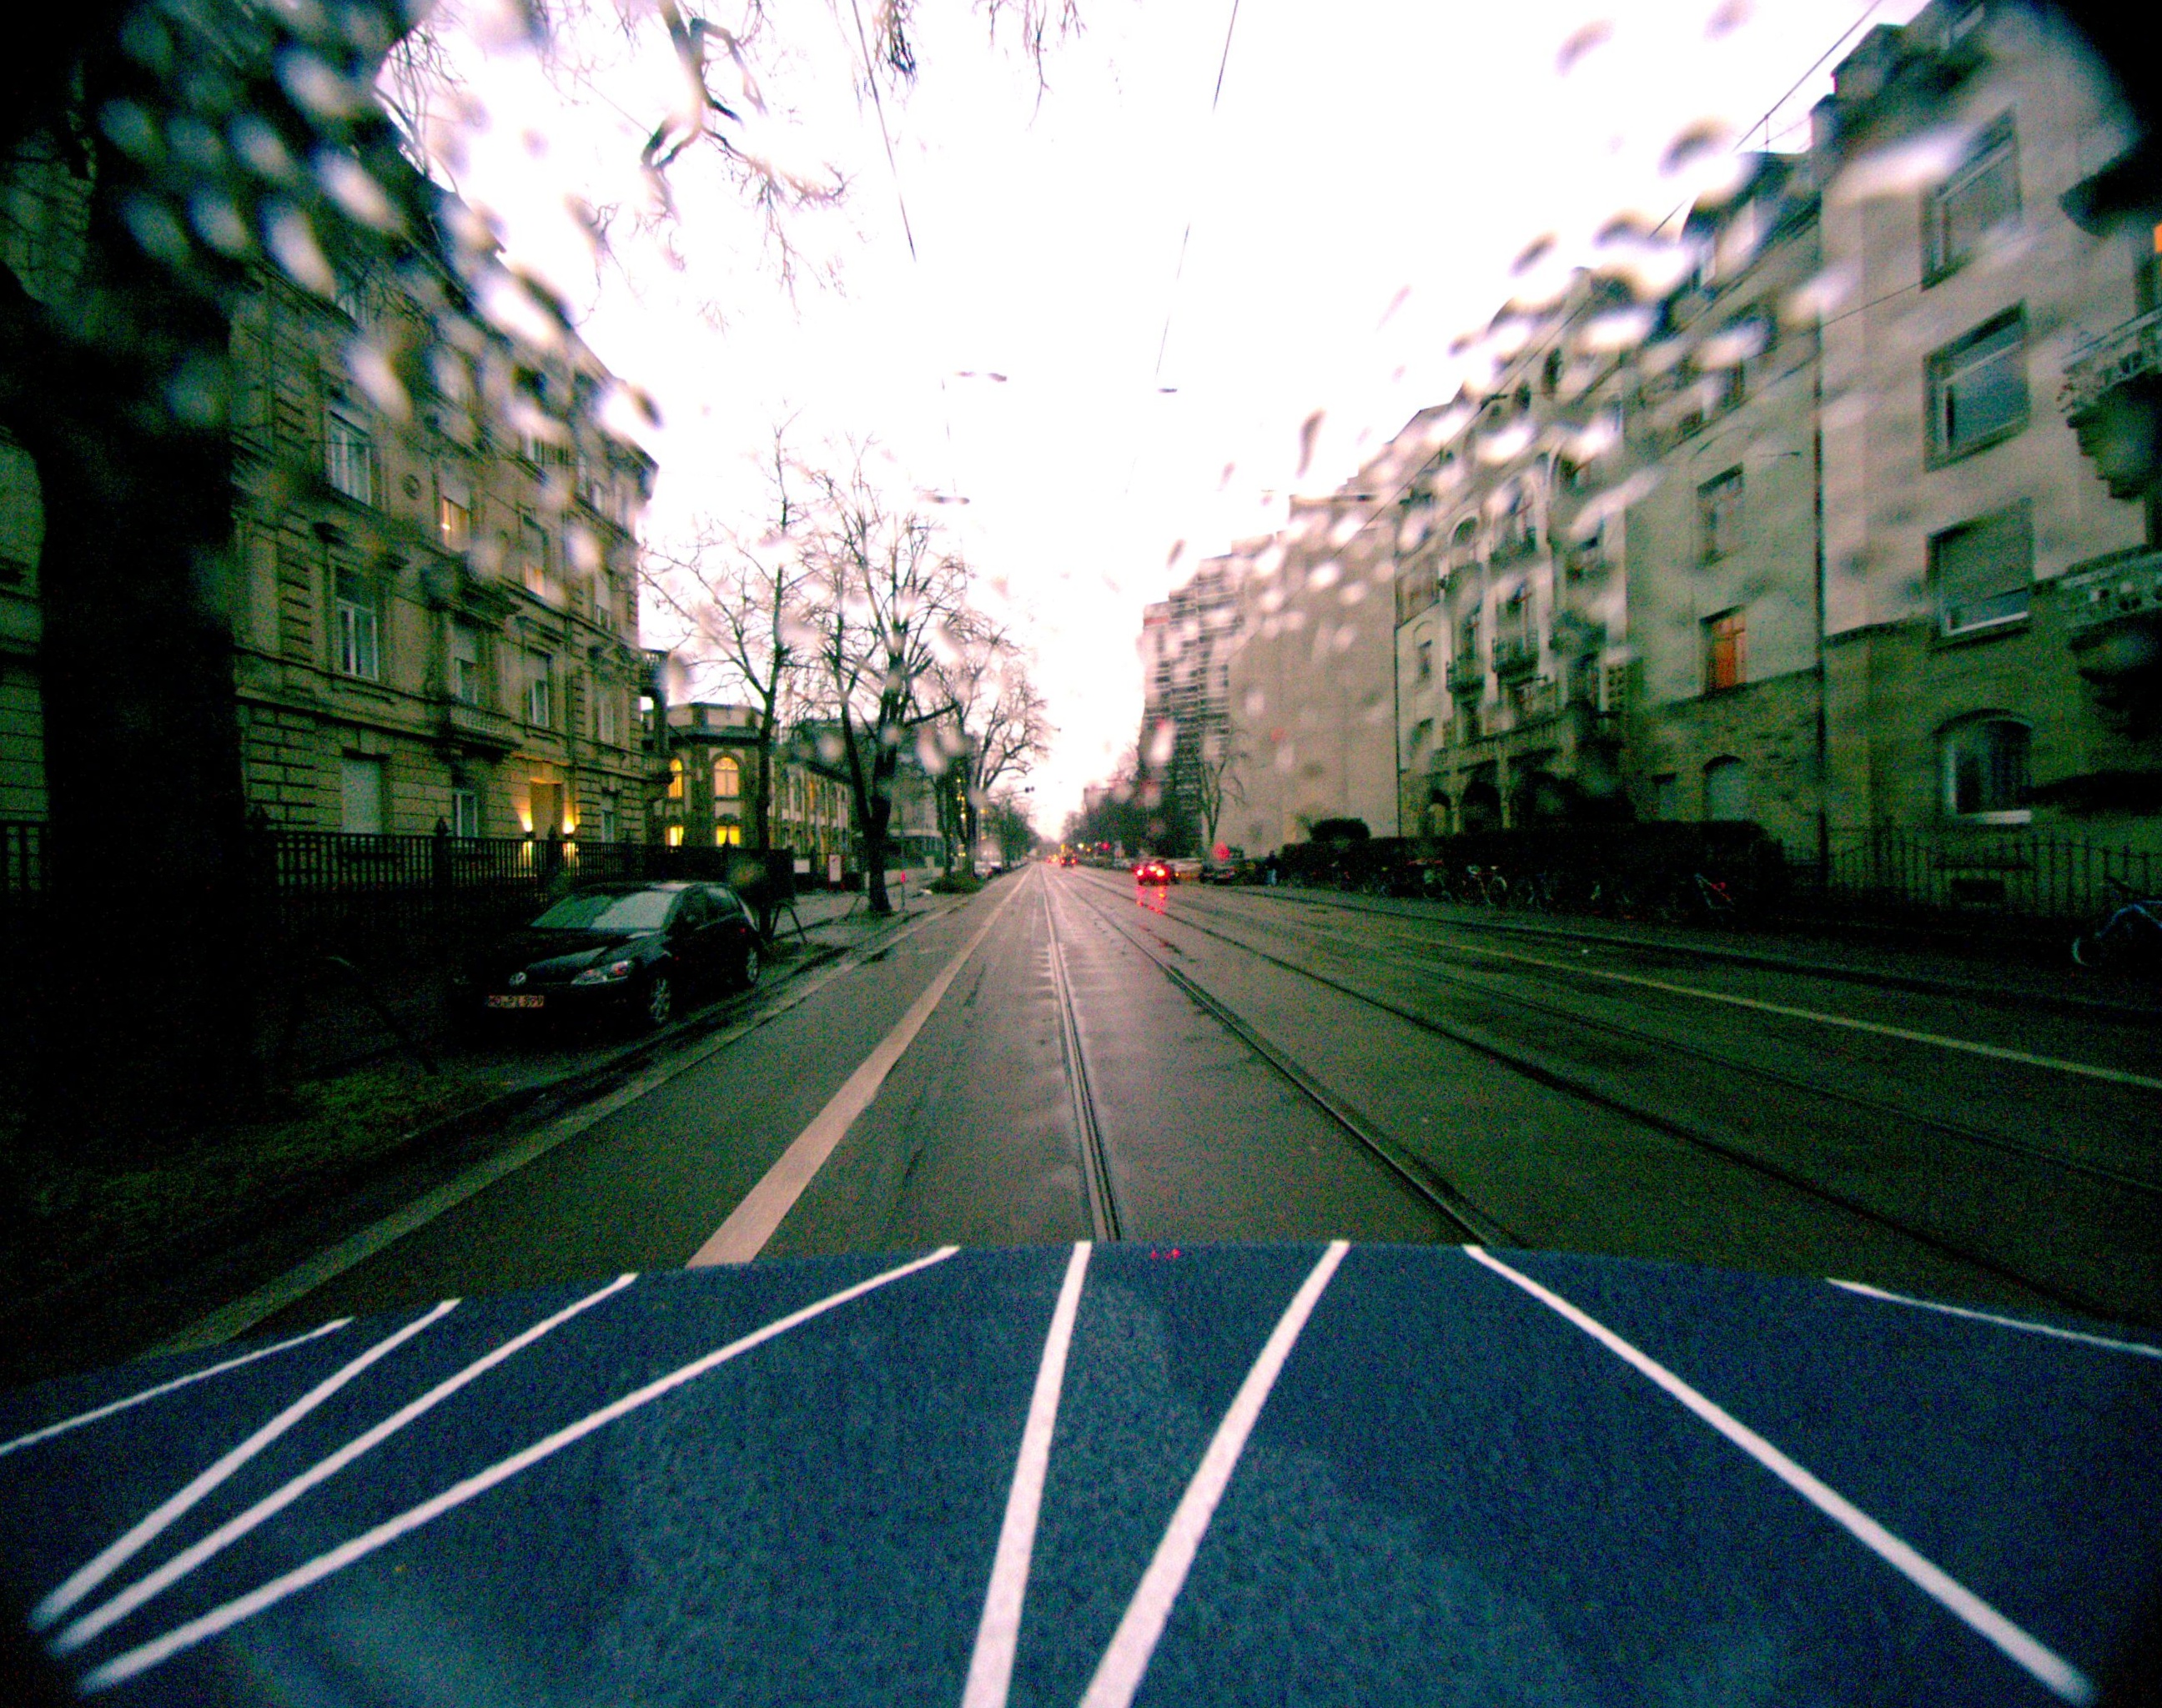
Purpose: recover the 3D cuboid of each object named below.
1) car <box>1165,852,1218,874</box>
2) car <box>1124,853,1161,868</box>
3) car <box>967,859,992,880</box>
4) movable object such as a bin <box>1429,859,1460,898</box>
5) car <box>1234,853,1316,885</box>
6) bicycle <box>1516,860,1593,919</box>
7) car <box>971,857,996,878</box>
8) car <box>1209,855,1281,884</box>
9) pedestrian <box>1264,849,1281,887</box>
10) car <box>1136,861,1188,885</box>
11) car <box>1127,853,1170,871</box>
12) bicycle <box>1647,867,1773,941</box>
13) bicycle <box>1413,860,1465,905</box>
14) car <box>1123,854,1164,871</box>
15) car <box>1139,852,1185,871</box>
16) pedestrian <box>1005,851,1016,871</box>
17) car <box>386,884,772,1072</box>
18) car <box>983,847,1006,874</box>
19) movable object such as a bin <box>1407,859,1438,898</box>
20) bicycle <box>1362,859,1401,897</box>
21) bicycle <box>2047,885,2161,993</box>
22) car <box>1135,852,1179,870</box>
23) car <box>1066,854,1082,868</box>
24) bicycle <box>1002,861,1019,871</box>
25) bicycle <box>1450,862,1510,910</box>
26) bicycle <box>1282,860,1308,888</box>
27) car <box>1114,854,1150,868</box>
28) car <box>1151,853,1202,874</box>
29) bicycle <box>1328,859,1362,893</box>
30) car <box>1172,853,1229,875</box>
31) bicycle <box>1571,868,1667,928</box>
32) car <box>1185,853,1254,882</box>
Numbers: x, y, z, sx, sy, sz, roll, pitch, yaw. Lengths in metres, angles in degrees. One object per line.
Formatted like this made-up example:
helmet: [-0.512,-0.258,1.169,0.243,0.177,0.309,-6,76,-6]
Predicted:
car: [8.625,0.712,59.358,4.007,1.586,1.864,-2,0,-40]
car: [7.190,0.744,88.512,4.007,1.586,1.864,-2,0,-40]
car: [-7.520,1.130,56.487,1.628,1.399,3.997,-2,1,-6]
movable object such as a bin: [11.346,0.755,23.715,0.625,1.157,0.674,-1,0,0]
car: [10.142,0.773,39.723,4.006,1.485,1.865,-2,0,-31]
bicycle: [10.297,0.746,16.590,0.625,1.205,1.662,-1,0,0]
car: [-8.489,1.117,66.399,1.999,1.672,3.997,-2,1,-6]
car: [9.133,0.840,42.123,4.007,1.477,1.760,-2,0,-40]
pedestrian: [8.872,0.624,35.140,0.574,1.715,0.644,-3,2,1]
car: [4.672,1.072,43.472,1.707,1.245,3.673,-1,0,28]
car: [6.674,0.767,74.672,4.007,1.586,1.864,-2,0,-40]
bicycle: [10.495,0.799,12.762,0.625,1.119,1.783,-1,0,0]
bicycle: [10.044,0.770,21.375,0.625,1.205,1.662,-1,0,0]
car: [6.390,0.827,77.224,4.007,1.586,1.864,-2,0,-40]
car: [7.331,0.669,68.749,4.007,1.586,1.864,-2,0,-40]
pedestrian: [-8.028,0.780,86.633,1.118,2.246,0.952,-2,1,-6]
car: [-5.056,1.129,8.481,1.762,1.437,4.156,1,0,-4]
car: [-8.656,0.602,76.357,2.094,2.622,5.446,-2,1,-6]
movable object such as a bin: [10.651,0.756,23.722,0.659,1.157,0.674,-1,0,0]
bicycle: [9.940,0.771,25.190,0.625,1.205,1.662,-1,0,0]
bicycle: [10.797,0.840,7.411,0.625,0.997,1.662,-1,0,0]
car: [7.180,0.648,71.805,4.007,1.586,1.864,-2,0,-40]
car: [-1.138,1.128,123.926,2.239,2.002,4.459,-2,1,-4]
bicycle: [-8.007,1.383,86.646,1.918,0.986,0.858,-2,1,-5]
bicycle: [10.089,0.788,19.298,0.625,1.157,1.662,-1,0,0]
bicycle: [9.265,0.835,32.923,0.625,1.157,1.662,-2,0,0]
car: [6.121,0.811,90.445,4.007,1.586,1.864,-2,0,-40]
car: [7.830,0.735,62.303,4.007,1.586,1.864,-2,0,-40]
bicycle: [9.679,0.784,27.912,0.625,1.205,1.662,-1,0,0]
car: [8.766,0.720,55.607,4.007,1.440,1.864,-2,0,-40]
bicycle: [10.406,0.824,14.782,0.625,1.059,1.726,-1,0,0]
car: [8.306,0.791,45.285,4.007,1.586,1.864,-2,0,-40]
